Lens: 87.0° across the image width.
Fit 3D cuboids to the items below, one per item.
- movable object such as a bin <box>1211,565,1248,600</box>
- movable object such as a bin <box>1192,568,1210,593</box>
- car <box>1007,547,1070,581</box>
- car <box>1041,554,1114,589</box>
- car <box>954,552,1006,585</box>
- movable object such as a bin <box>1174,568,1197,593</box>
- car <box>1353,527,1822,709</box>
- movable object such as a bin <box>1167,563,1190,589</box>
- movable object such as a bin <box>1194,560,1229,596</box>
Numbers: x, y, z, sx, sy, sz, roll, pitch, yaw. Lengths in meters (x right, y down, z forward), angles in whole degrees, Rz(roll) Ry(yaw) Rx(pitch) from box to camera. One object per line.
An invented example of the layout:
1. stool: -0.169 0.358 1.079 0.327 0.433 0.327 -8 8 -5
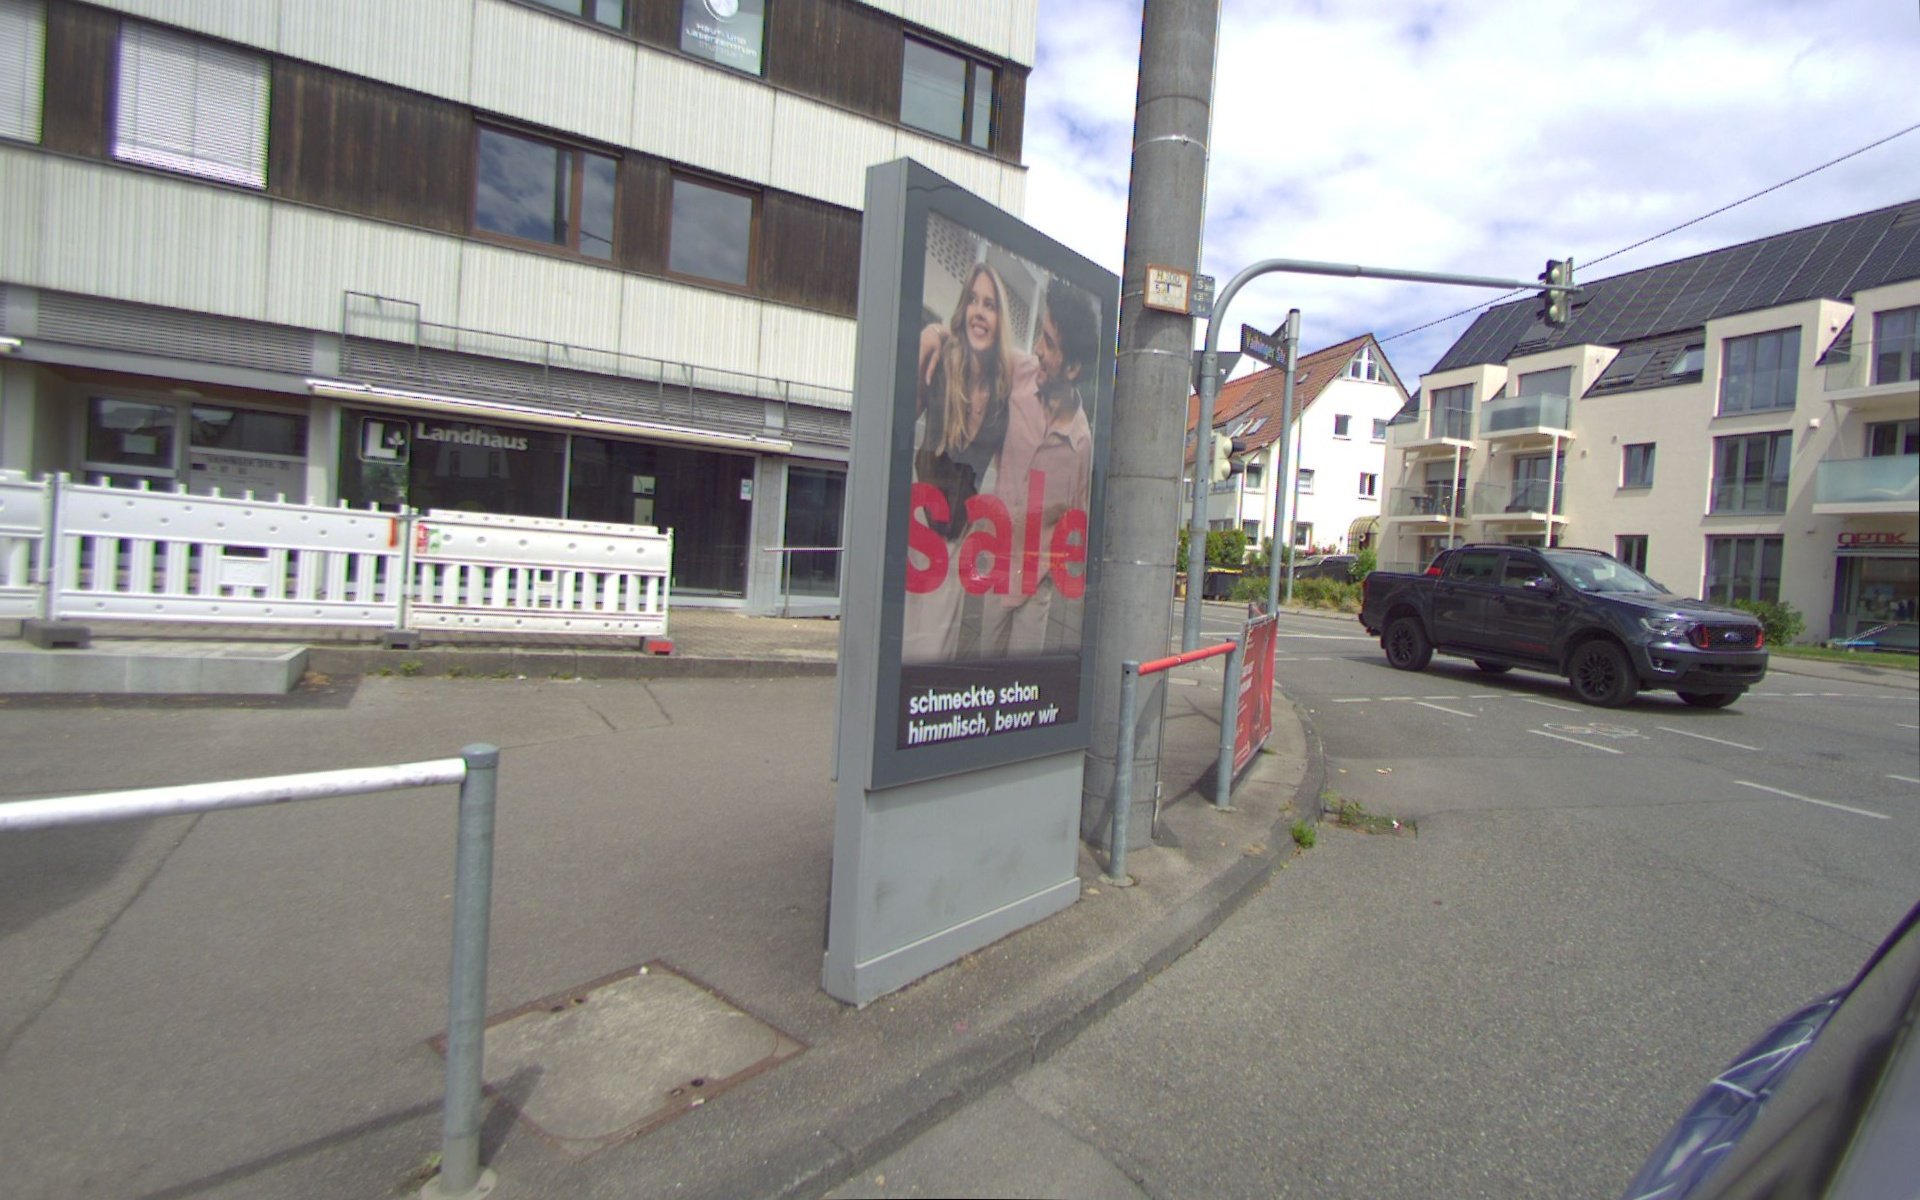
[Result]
1. movable object such as a bin: 11.206 -0.749 42.114 1.070 1.379 0.983 2 2 -16
2. movable object such as a bin: 10.640 -0.856 44.614 0.520 1.078 0.648 4 3 35
3. car: 4.258 -2.000 55.648 1.958 1.653 4.465 2 3 -16
4. car: 5.752 -1.452 50.082 1.781 1.519 4.465 2 3 -18
5. car: 1.266 -2.083 65.193 1.959 1.651 4.248 10 1 -16
6. movable object such as a bin: 9.951 -0.860 44.624 0.748 1.078 0.694 2 2 -9
7. car: 7.664 0.057 13.216 1.848 1.871 5.235 2 3 -16
8. movable object such as a bin: 9.765 -1.071 45.310 0.748 1.078 0.694 2 2 -9
9. movable object such as a bin: 10.849 -0.971 43.681 1.070 1.464 0.983 2 2 -16
